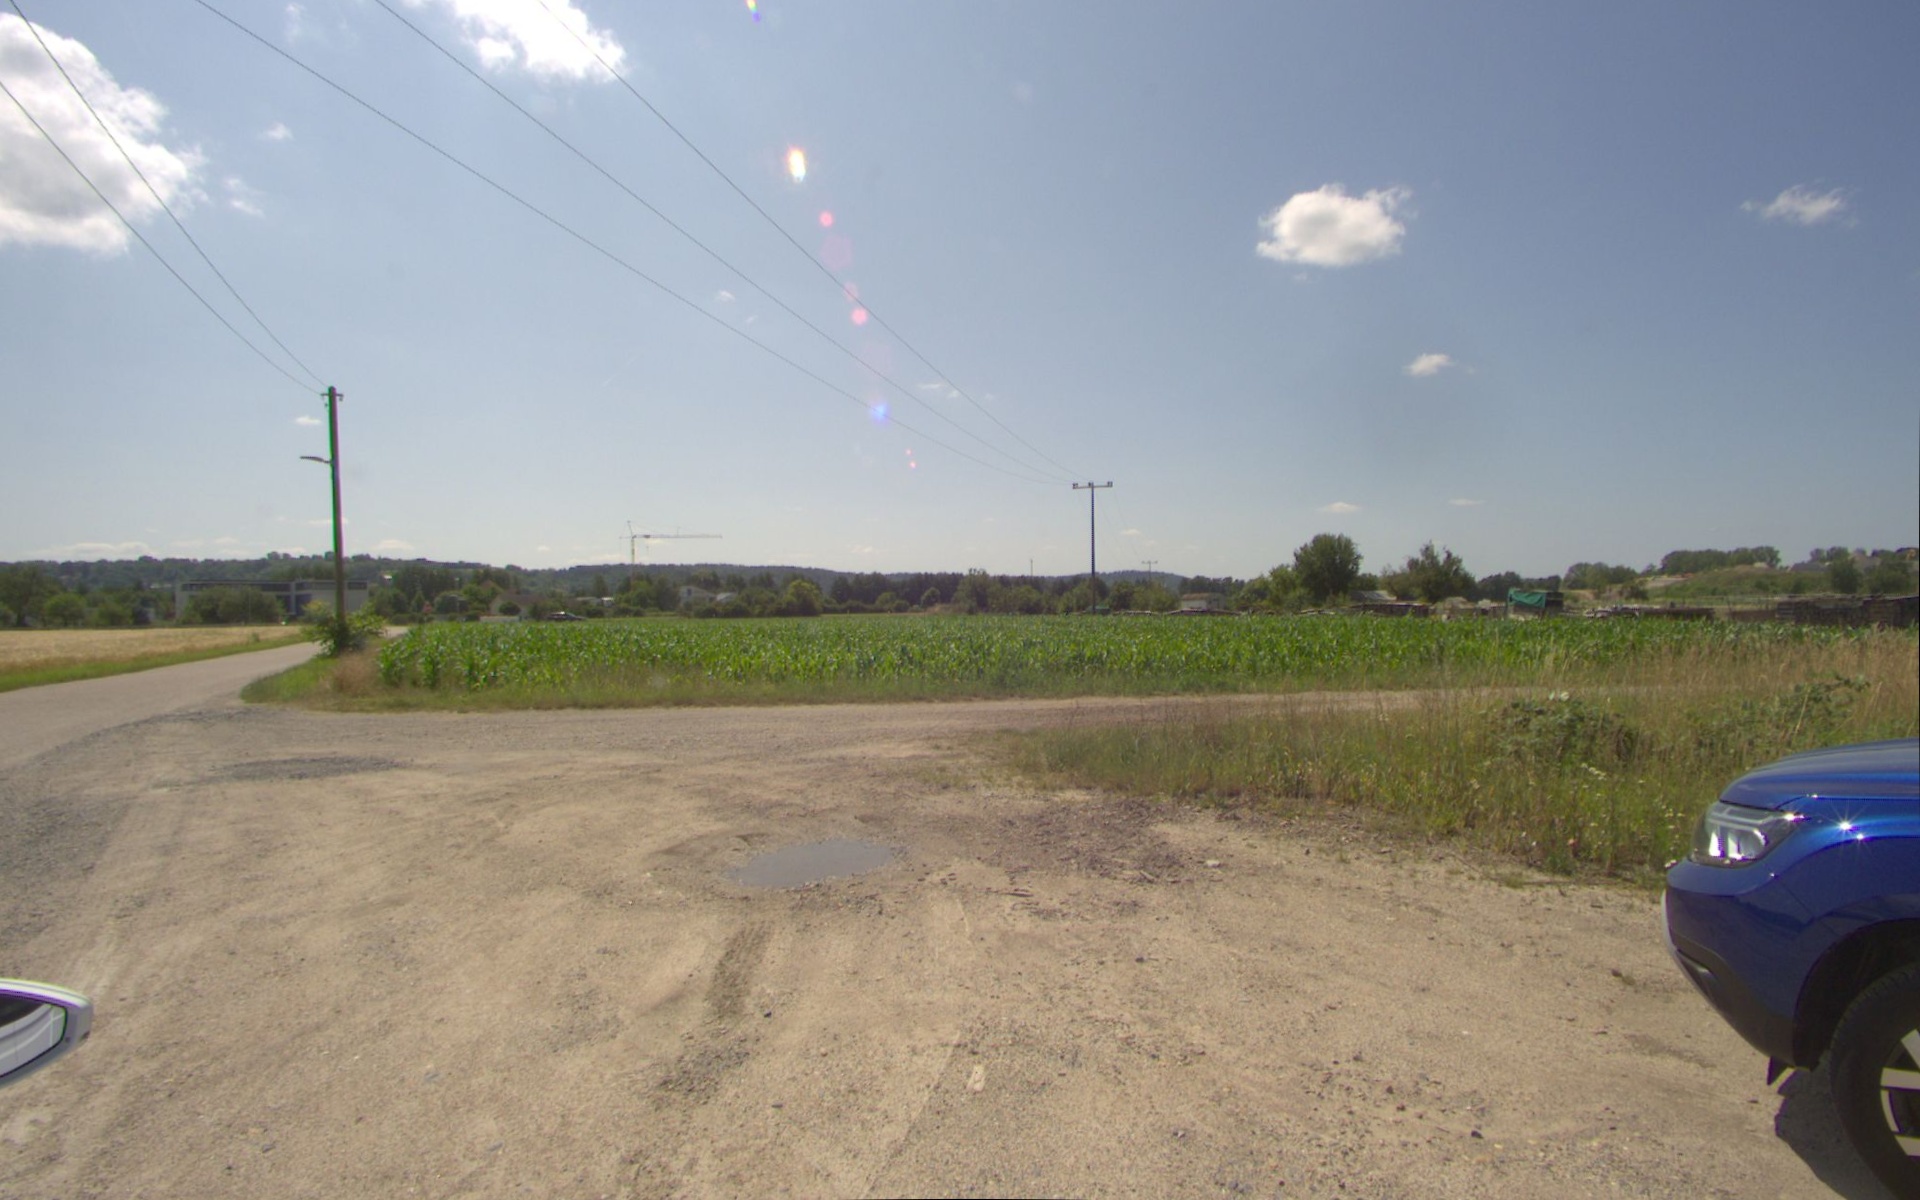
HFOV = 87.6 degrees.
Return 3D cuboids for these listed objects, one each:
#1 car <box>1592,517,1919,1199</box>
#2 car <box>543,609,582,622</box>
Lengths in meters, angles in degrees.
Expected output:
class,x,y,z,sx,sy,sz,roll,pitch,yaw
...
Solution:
class,x,y,z,sx,sy,sz,roll,pitch,yaw
car,3.929,0.616,1.758,1.843,1.682,4.423,1,-2,-39
car,-49.302,1.961,124.319,4.214,1.522,1.814,-1,0,-14
